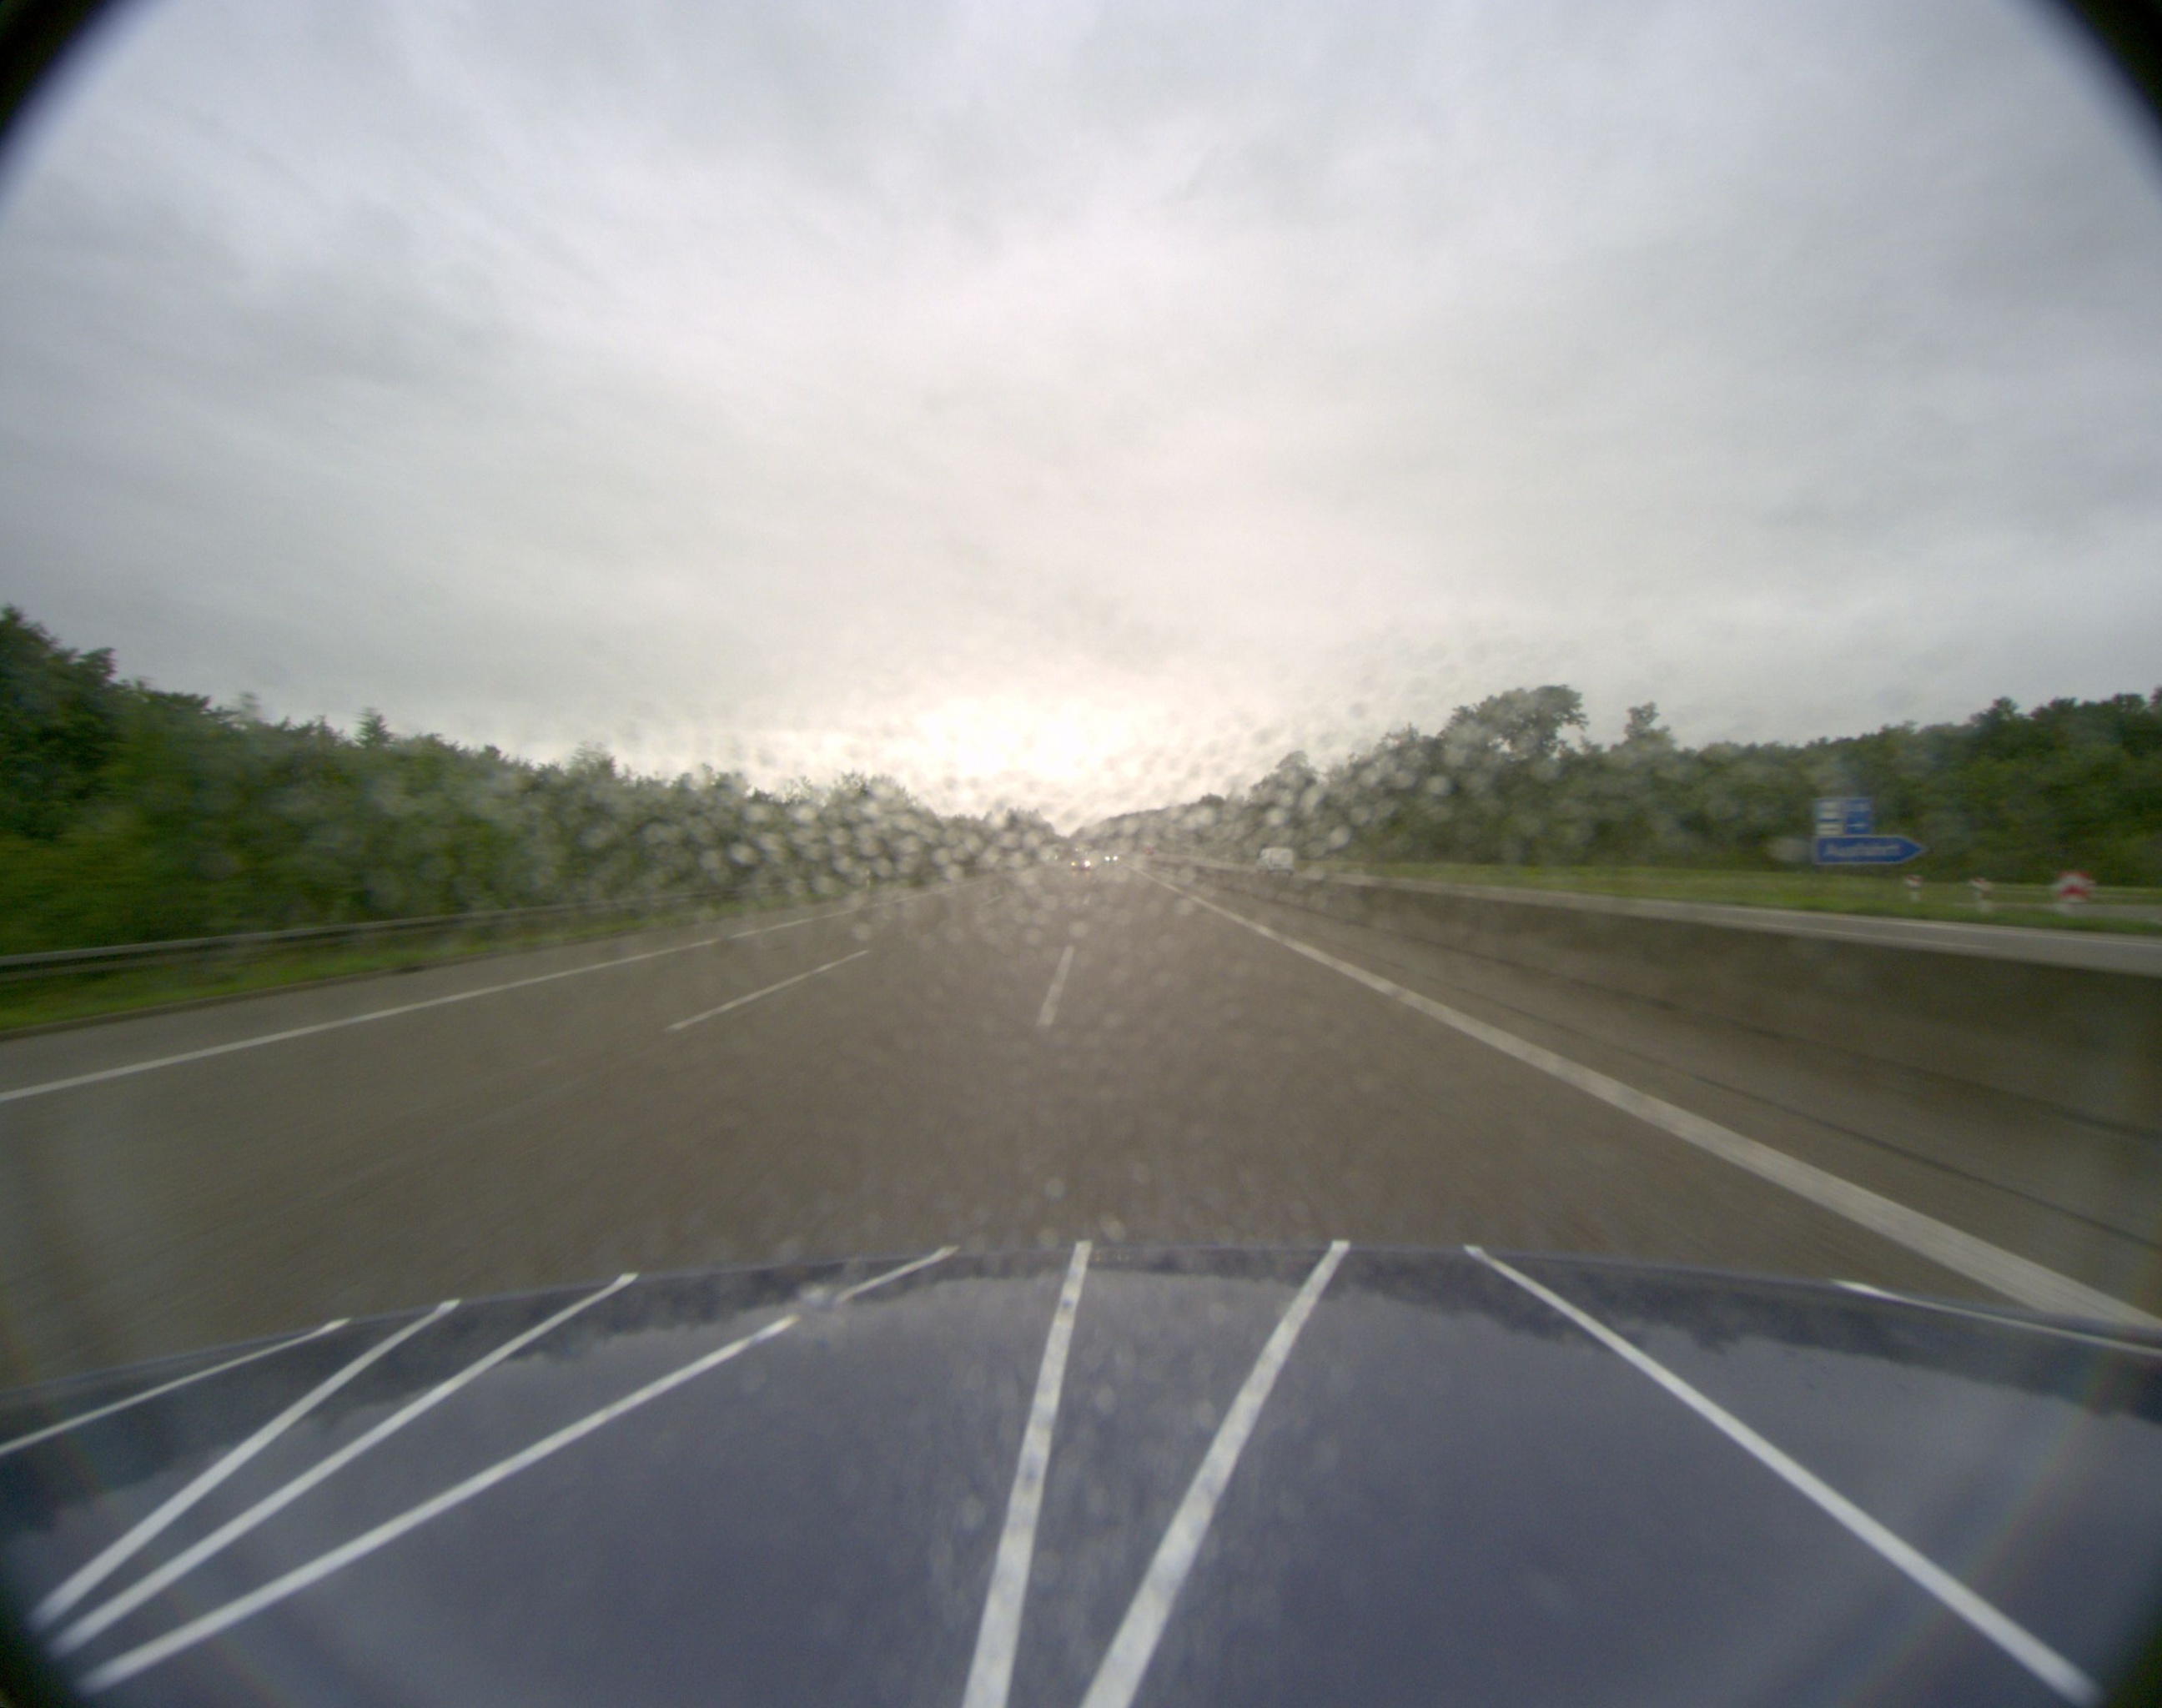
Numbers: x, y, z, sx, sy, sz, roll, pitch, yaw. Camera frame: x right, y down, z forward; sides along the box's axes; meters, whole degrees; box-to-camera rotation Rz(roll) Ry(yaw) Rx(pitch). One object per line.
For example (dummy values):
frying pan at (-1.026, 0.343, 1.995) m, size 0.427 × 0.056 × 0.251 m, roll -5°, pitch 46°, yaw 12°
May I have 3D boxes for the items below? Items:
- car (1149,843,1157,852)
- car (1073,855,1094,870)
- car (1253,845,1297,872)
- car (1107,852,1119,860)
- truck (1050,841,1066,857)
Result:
car at (24.619, -2.311, 259.313) m, size 2.185 × 3.025 × 5.975 m, roll -1°, pitch 1°, yaw 2°
car at (0.295, 0.869, 77.027) m, size 1.932 × 1.521 × 4.299 m, roll 0°, pitch -1°, yaw 3°
car at (15.089, 0.290, 59.460) m, size 1.998 × 2.002 × 5.761 m, roll 0°, pitch 0°, yaw 0°
car at (5.694, 0.334, 133.136) m, size 2.009 × 1.455 × 4.001 m, roll 0°, pitch 1°, yaw 3°
truck at (-5.536, -1.237, 188.102) m, size 3.243 × 3.873 × 12.025 m, roll -1°, pitch 1°, yaw 1°
